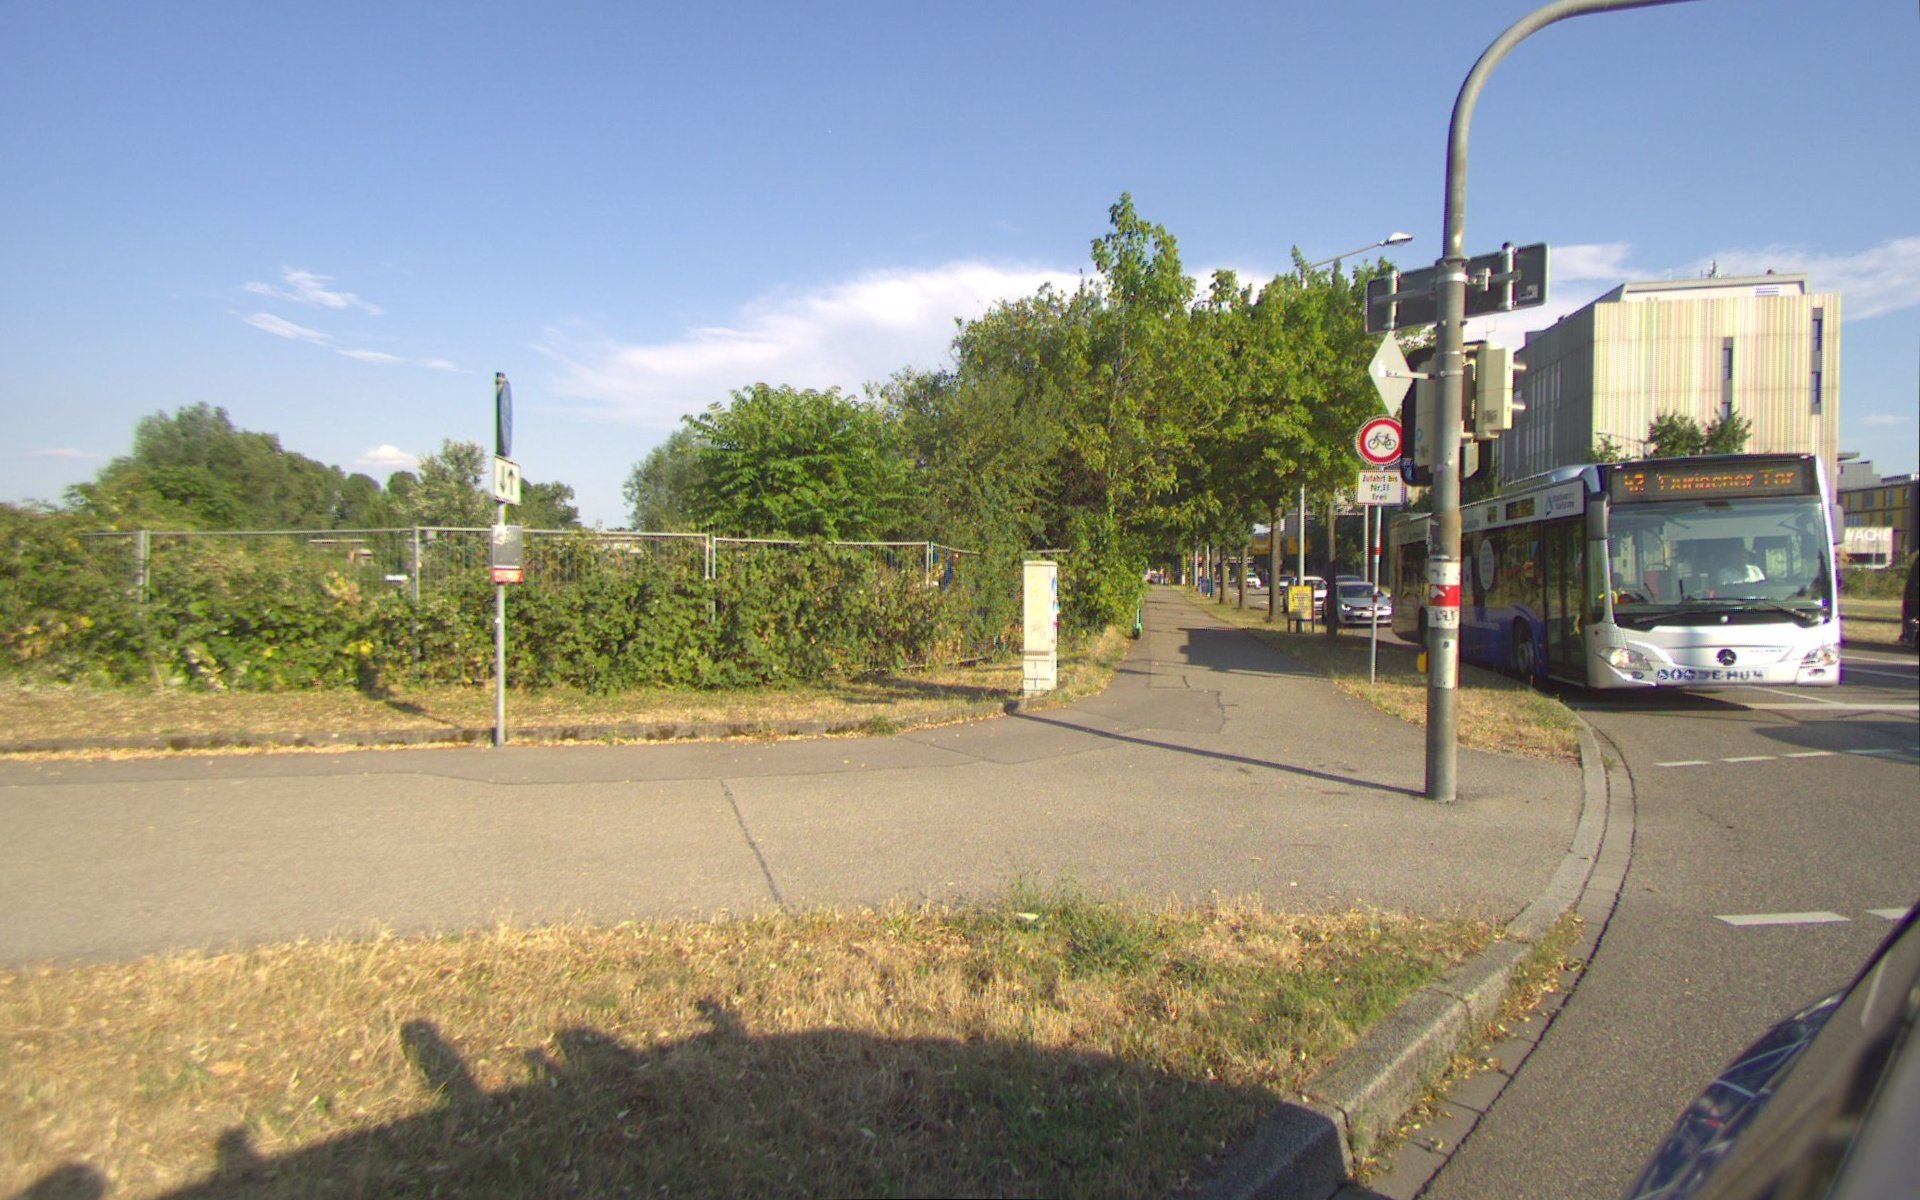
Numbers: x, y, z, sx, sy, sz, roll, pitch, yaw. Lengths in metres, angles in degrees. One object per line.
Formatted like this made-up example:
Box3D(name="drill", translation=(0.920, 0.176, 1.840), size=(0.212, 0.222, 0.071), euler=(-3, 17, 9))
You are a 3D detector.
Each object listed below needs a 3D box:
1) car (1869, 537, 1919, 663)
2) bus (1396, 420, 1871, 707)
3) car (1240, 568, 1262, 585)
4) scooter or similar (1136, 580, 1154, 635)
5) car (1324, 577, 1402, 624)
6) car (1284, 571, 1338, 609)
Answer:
Box3D(name="car", translation=(15.658, 0.023, 14.256), size=(1.832, 1.956, 5.000), euler=(-1, 1, 10))
Box3D(name="bus", translation=(9.817, -0.510, 16.870), size=(2.557, 3.081, 11.675), euler=(-1, 1, 13))
Box3D(name="car", translation=(27.388, -2.200, 95.436), size=(1.559, 1.581, 3.618), euler=(0, 1, 9))
Box3D(name="scooter or similar", translation=(4.051, 0.150, 22.090), size=(0.246, 1.140, 1.090), euler=(3, 2, 15))
Box3D(name="car", translation=(13.101, -0.013, 33.094), size=(1.559, 1.441, 3.618), euler=(0, 1, 9))
Box3D(name="car", translation=(15.075, -0.448, 43.570), size=(1.559, 1.581, 3.618), euler=(0, 1, 9))
